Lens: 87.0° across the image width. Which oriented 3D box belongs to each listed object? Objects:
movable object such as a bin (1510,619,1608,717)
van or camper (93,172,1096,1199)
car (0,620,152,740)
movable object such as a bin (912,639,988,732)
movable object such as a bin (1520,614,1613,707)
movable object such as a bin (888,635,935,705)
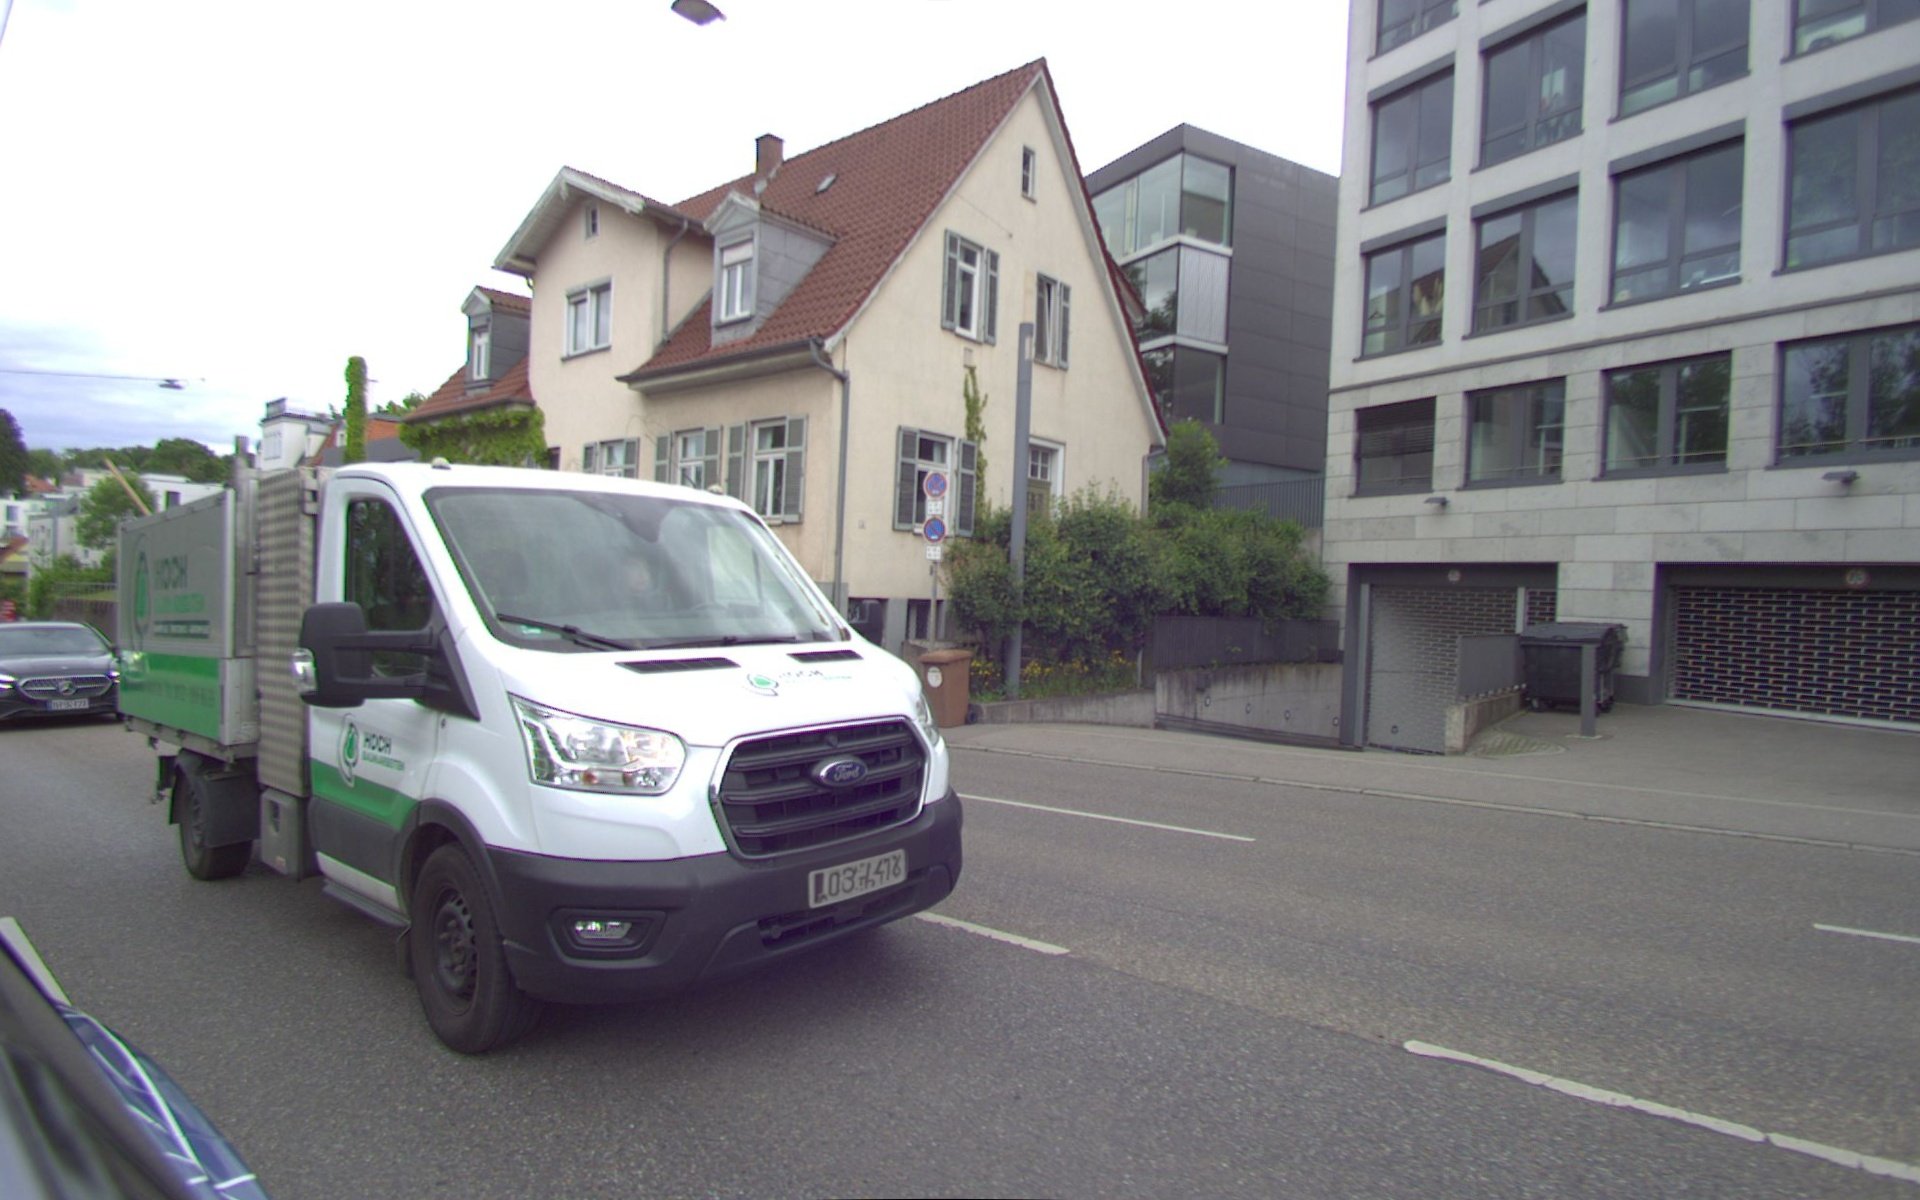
[{"bbox_3d":[10.074,1.104,17.005,1.287,1.508,1.074,-1,2,37],"label":"movable object such as a bin"},{"bbox_3d":[-2.434,0.233,5.320,5.961,2.682,2.319,1,2,40],"label":"van or camper"},{"bbox_3d":[-13.752,1.097,15.158,4.333,1.541,1.854,-2,-1,41],"label":"car"},{"bbox_3d":[-0.140,1.186,14.299,0.697,1.198,0.803,-2,2,35],"label":"movable object such as a bin"},{"bbox_3d":[10.772,1.038,17.963,1.287,1.508,1.074,-1,2,37],"label":"movable object such as a bin"},{"bbox_3d":[-0.867,1.241,18.140,0.603,1.198,0.572,-2,0,35],"label":"movable object such as a bin"}]
